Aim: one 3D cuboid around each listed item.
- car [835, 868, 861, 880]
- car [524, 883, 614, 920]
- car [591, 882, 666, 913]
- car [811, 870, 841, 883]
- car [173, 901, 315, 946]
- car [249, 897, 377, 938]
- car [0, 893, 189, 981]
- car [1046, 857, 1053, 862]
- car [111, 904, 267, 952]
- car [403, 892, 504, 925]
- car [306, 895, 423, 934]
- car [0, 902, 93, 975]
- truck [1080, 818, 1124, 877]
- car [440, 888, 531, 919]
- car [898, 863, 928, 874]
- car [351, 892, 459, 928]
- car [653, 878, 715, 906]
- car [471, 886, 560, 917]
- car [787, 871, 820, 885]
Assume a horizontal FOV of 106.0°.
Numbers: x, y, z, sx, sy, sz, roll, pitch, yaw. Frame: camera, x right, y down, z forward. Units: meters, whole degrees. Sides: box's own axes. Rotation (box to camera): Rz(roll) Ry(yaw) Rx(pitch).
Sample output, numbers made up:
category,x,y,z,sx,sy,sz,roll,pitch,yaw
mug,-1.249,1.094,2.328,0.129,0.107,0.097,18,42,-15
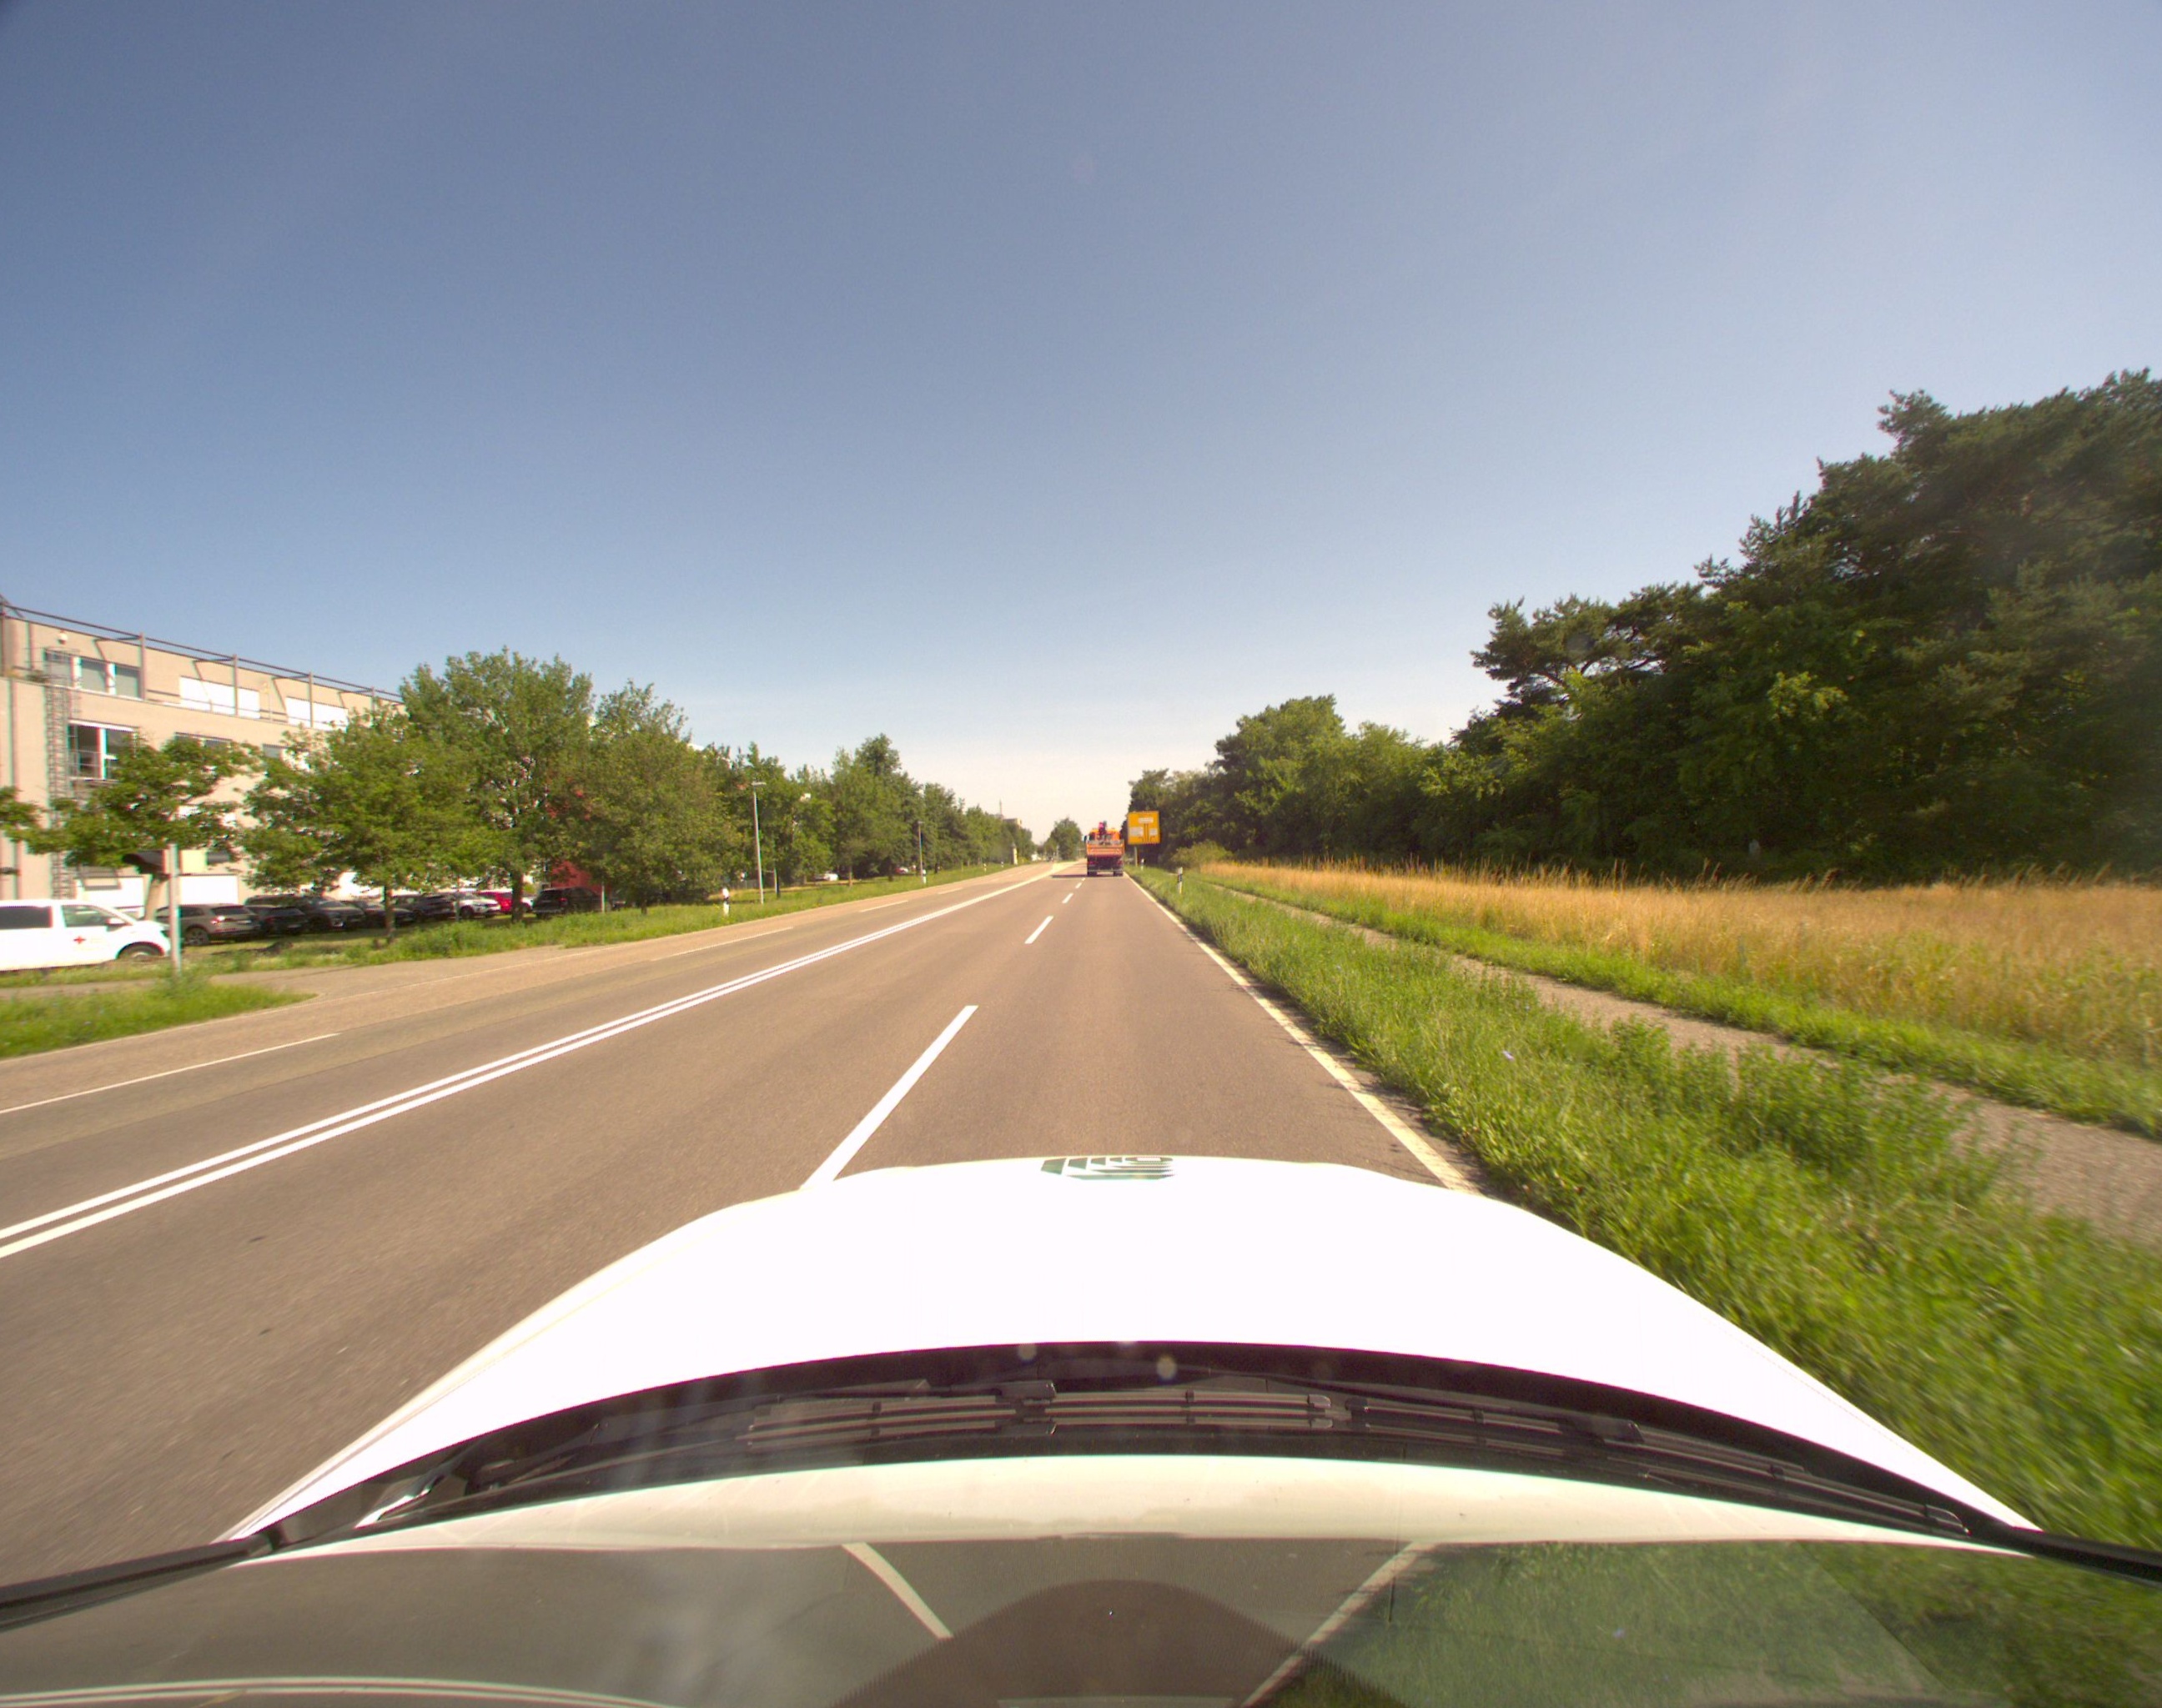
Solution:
category,x,y,z,sx,sy,sz,roll,pitch,yaw
car,-31.974,2.787,111.832,1.986,1.437,4.611,-3,0,1
car,-27.106,2.474,43.289,1.737,1.578,4.550,-3,0,1
car,-27.023,2.564,48.816,1.737,1.578,4.550,-3,0,1
car,-31.863,2.812,101.863,1.985,1.437,4.959,-3,0,3
car,-35.377,2.917,34.488,3.974,1.536,1.888,-3,0,0
car,-35.005,2.865,37.190,3.974,1.536,1.888,-3,0,0
car,-26.538,2.112,20.593,2.047,1.929,5.048,-3,0,32
car,-9.933,1.800,255.626,1.794,1.572,4.001,-3,0,1
car,-35.066,2.899,32.101,3.974,1.536,1.888,-3,0,0
car,-34.453,2.979,44.788,3.974,1.536,1.888,-3,0,0
car,-34.852,2.929,39.690,3.974,1.536,1.888,-3,0,0
car,-29.928,2.338,21.233,2.047,1.806,5.048,-3,0,32
truck,1.389,-0.418,57.621,2.863,3.880,7.397,-1,0,-1
car,-34.890,2.883,47.814,3.974,1.536,1.742,-3,0,0
car,-28.501,2.499,137.934,4.578,1.650,2.000,-3,0,1
car,-35.175,2.898,42.447,3.974,1.536,1.888,-3,0,0
car,-26.795,2.552,55.145,1.737,1.578,4.550,-3,0,1
car,-34.777,2.905,50.139,4.121,1.585,1.742,-3,0,0
car,-34.472,2.950,101.306,1.985,1.437,4.959,-3,0,3
